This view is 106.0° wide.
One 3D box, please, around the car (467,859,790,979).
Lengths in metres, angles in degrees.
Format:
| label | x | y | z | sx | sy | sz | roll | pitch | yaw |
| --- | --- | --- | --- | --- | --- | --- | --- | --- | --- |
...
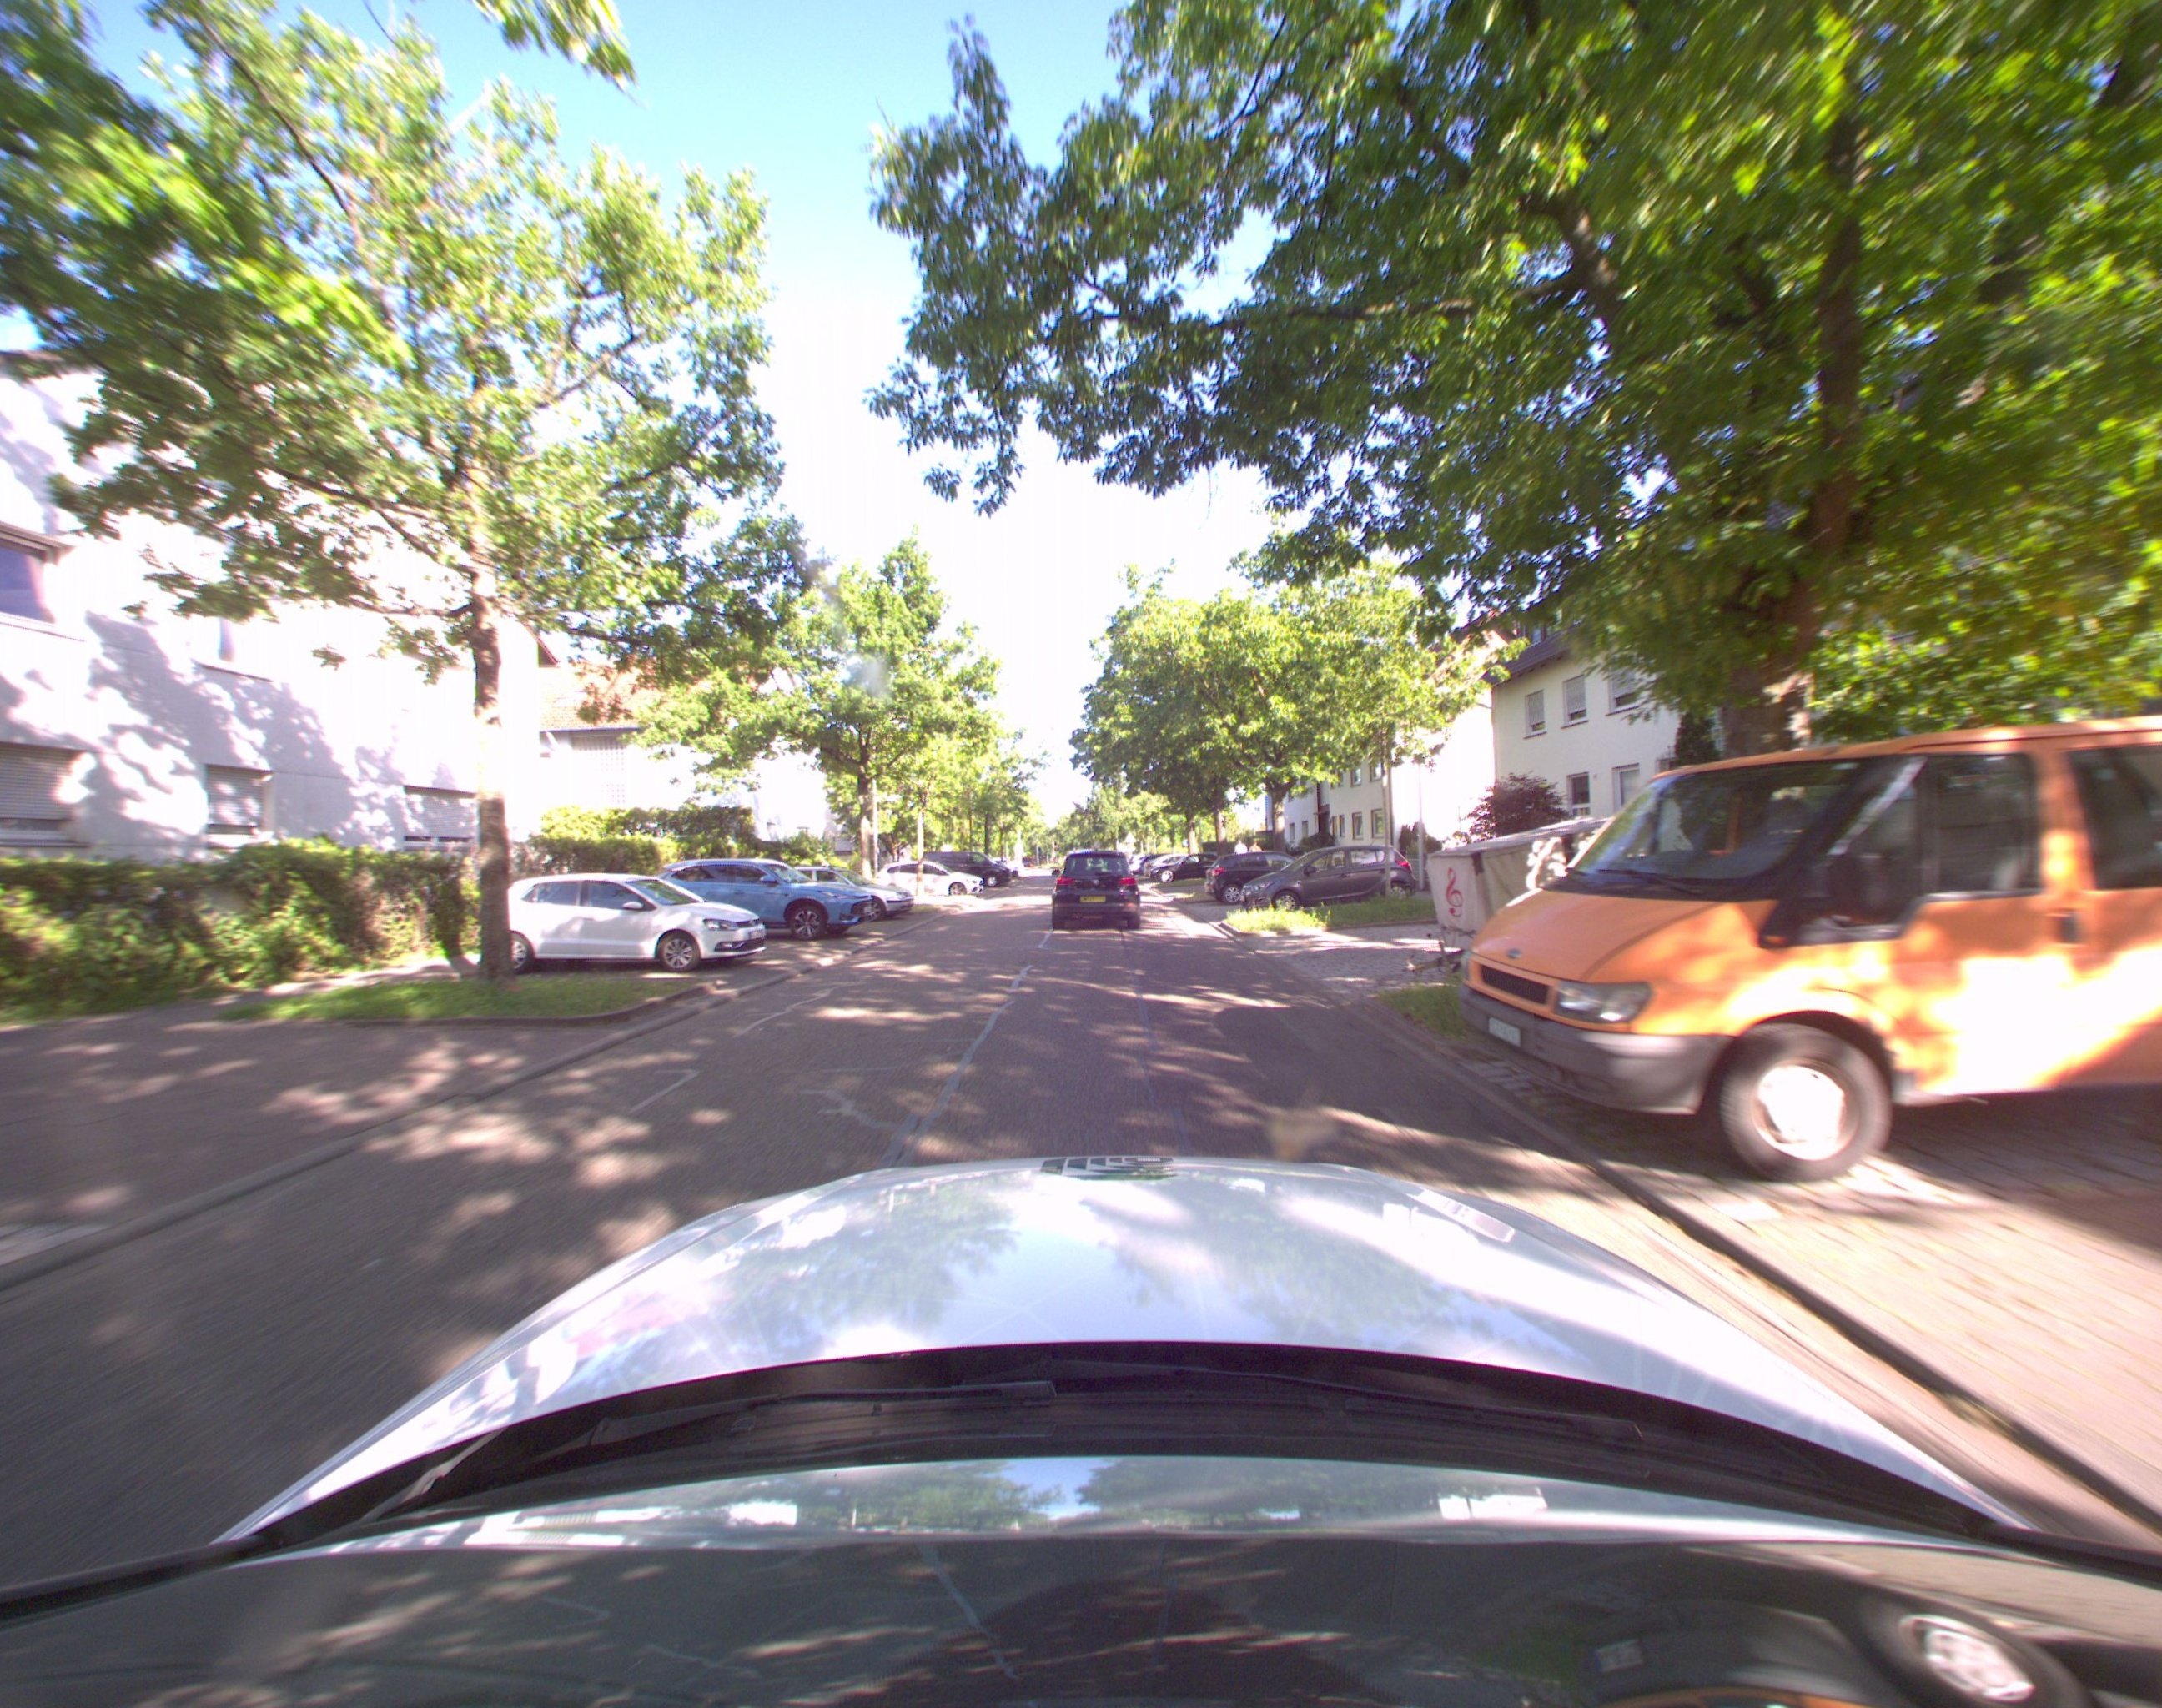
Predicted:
| label | x | y | z | sx | sy | sz | roll | pitch | yaw |
| --- | --- | --- | --- | --- | --- | --- | --- | --- | --- |
| car | -6.933 | 0.964 | 12.782 | 3.972 | 1.595 | 1.858 | -2 | -1 | 1 |

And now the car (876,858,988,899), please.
| label | x | y | z | sx | sy | sz | roll | pitch | yaw |
| --- | --- | --- | --- | --- | --- | --- | --- | --- | --- |
| car | -6.137 | 1.000 | 33.947 | 4.261 | 1.478 | 1.769 | -2 | 0 | 0 |

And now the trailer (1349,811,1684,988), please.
| label | x | y | z | sx | sy | sz | roll | pitch | yaw |
| --- | --- | --- | --- | --- | --- | --- | --- | --- | --- |
| trailer | 4.900 | 0.482 | 9.439 | 2.940 | 1.664 | 1.612 | -4 | -1 | -5 |

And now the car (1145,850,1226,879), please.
| label | x | y | z | sx | sy | sz | roll | pitch | yaw |
| --- | --- | --- | --- | --- | --- | --- | --- | --- | --- |
| car | 5.778 | 0.583 | 45.273 | 4.262 | 1.414 | 1.797 | -3 | 0 | 0 |

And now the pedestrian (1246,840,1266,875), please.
| label | x | y | z | sx | sy | sz | roll | pitch | yaw |
| --- | --- | --- | --- | --- | --- | --- | --- | --- | --- |
| pedestrian | 9.229 | 0.198 | 43.011 | 0.831 | 1.828 | 0.711 | -2 | -1 | 2 |

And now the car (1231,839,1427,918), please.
| label | x | y | z | sx | sy | sz | roll | pitch | yaw |
| --- | --- | --- | --- | --- | --- | --- | --- | --- | --- |
| car | 5.679 | 0.558 | 18.983 | 3.976 | 1.624 | 1.756 | -2 | -1 | -2 |

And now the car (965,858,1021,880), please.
| label | x | y | z | sx | sy | sz | roll | pitch | yaw |
| --- | --- | --- | --- | --- | --- | --- | --- | --- | --- |
| car | -6.364 | 1.081 | 59.347 | 3.844 | 1.459 | 1.713 | -2 | 0 | 0 |

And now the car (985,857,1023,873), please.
| label | x | y | z | sx | sy | sz | roll | pitch | yaw |
| --- | --- | --- | --- | --- | --- | --- | --- | --- | --- |
| car | -8.733 | 1.245 | 93.094 | 4.234 | 1.623 | 1.894 | -2 | -1 | -4 |

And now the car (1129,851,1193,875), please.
| label | x | y | z | sx | sy | sz | roll | pitch | yaw |
| --- | --- | --- | --- | --- | --- | --- | --- | --- | --- |
| car | 5.754 | 0.639 | 58.979 | 4.413 | 1.491 | 1.797 | -2 | 0 | 0 |

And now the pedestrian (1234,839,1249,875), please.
| label | x | y | z | sx | sy | sz | roll | pitch | yaw |
| --- | --- | --- | --- | --- | --- | --- | --- | --- | --- |
| pedestrian | 8.480 | 0.164 | 43.027 | 0.605 | 1.873 | 0.924 | -2 | -1 | 2 |

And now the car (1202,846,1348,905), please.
| label | x | y | z | sx | sy | sz | roll | pitch | yaw |
| --- | --- | --- | --- | --- | --- | --- | --- | --- | --- |
| car | 5.618 | 0.632 | 23.874 | 3.868 | 1.516 | 1.661 | -2 | -1 | 1 |

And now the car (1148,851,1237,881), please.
| label | x | y | z | sx | sy | sz | roll | pitch | yaw |
| --- | --- | --- | --- | --- | --- | --- | --- | --- | --- |
| car | 5.765 | 0.627 | 42.486 | 4.332 | 1.363 | 1.873 | -3 | -1 | 0 |

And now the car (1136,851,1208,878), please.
| label | x | y | z | sx | sy | sz | roll | pitch | yaw |
| --- | --- | --- | --- | --- | --- | --- | --- | --- | --- |
| car | 5.574 | 0.618 | 50.238 | 4.262 | 1.503 | 1.797 | -2 | 0 | 0 |

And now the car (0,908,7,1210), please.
| label | x | y | z | sx | sy | sz | roll | pitch | yaw |
| --- | --- | --- | --- | --- | --- | --- | --- | --- | --- |
| car | -7.121 | 0.954 | 2.940 | 4.021 | 1.423 | 1.810 | 0 | 0 | 0 |

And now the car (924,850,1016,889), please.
| label | x | y | z | sx | sy | sz | roll | pitch | yaw |
| --- | --- | --- | --- | --- | --- | --- | --- | --- | --- |
| car | -6.085 | 0.821 | 45.020 | 4.765 | 1.917 | 2.017 | -2 | 0 | -2 |

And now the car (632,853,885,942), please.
| label | x | y | z | sx | sy | sz | roll | pitch | yaw |
| --- | --- | --- | --- | --- | --- | --- | --- | --- | --- |
| car | -6.683 | 0.876 | 17.256 | 4.507 | 1.631 | 1.938 | -2 | 0 | 1 |

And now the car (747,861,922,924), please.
| label | x | y | z | sx | sy | sz | roll | pitch | yaw |
| --- | --- | --- | --- | --- | --- | --- | --- | --- | --- |
| car | -6.562 | 1.020 | 21.957 | 4.167 | 1.492 | 1.647 | -2 | -1 | 1 |

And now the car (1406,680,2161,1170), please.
| label | x | y | z | sx | sy | sz | roll | pitch | yaw |
| --- | --- | --- | --- | --- | --- | --- | --- | --- | --- |
| car | 4.678 | 0.277 | 4.628 | 4.801 | 2.083 | 2.087 | -2 | 0 | 1 |

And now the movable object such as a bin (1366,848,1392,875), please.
| label | x | y | z | sx | sy | sz | roll | pitch | yaw |
| --- | --- | --- | --- | --- | --- | --- | --- | --- | --- |
| movable object such as a bin | 12.225 | 0.310 | 33.448 | 0.701 | 1.099 | 0.906 | -2 | -1 | 0 |

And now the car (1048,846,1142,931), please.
| label | x | y | z | sx | sy | sz | roll | pitch | yaw |
| --- | --- | --- | --- | --- | --- | --- | --- | --- | --- |
| car | 0.407 | 0.695 | 18.125 | 1.830 | 1.636 | 3.961 | -1 | 0 | 4 |

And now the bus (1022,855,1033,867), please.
| label | x | y | z | sx | sy | sz | roll | pitch | yaw |
| --- | --- | --- | --- | --- | --- | --- | --- | --- | --- |
| bus | -14.690 | 1.936 | 222.639 | 2.922 | 3.004 | 5.729 | -2 | -1 | -3 |
